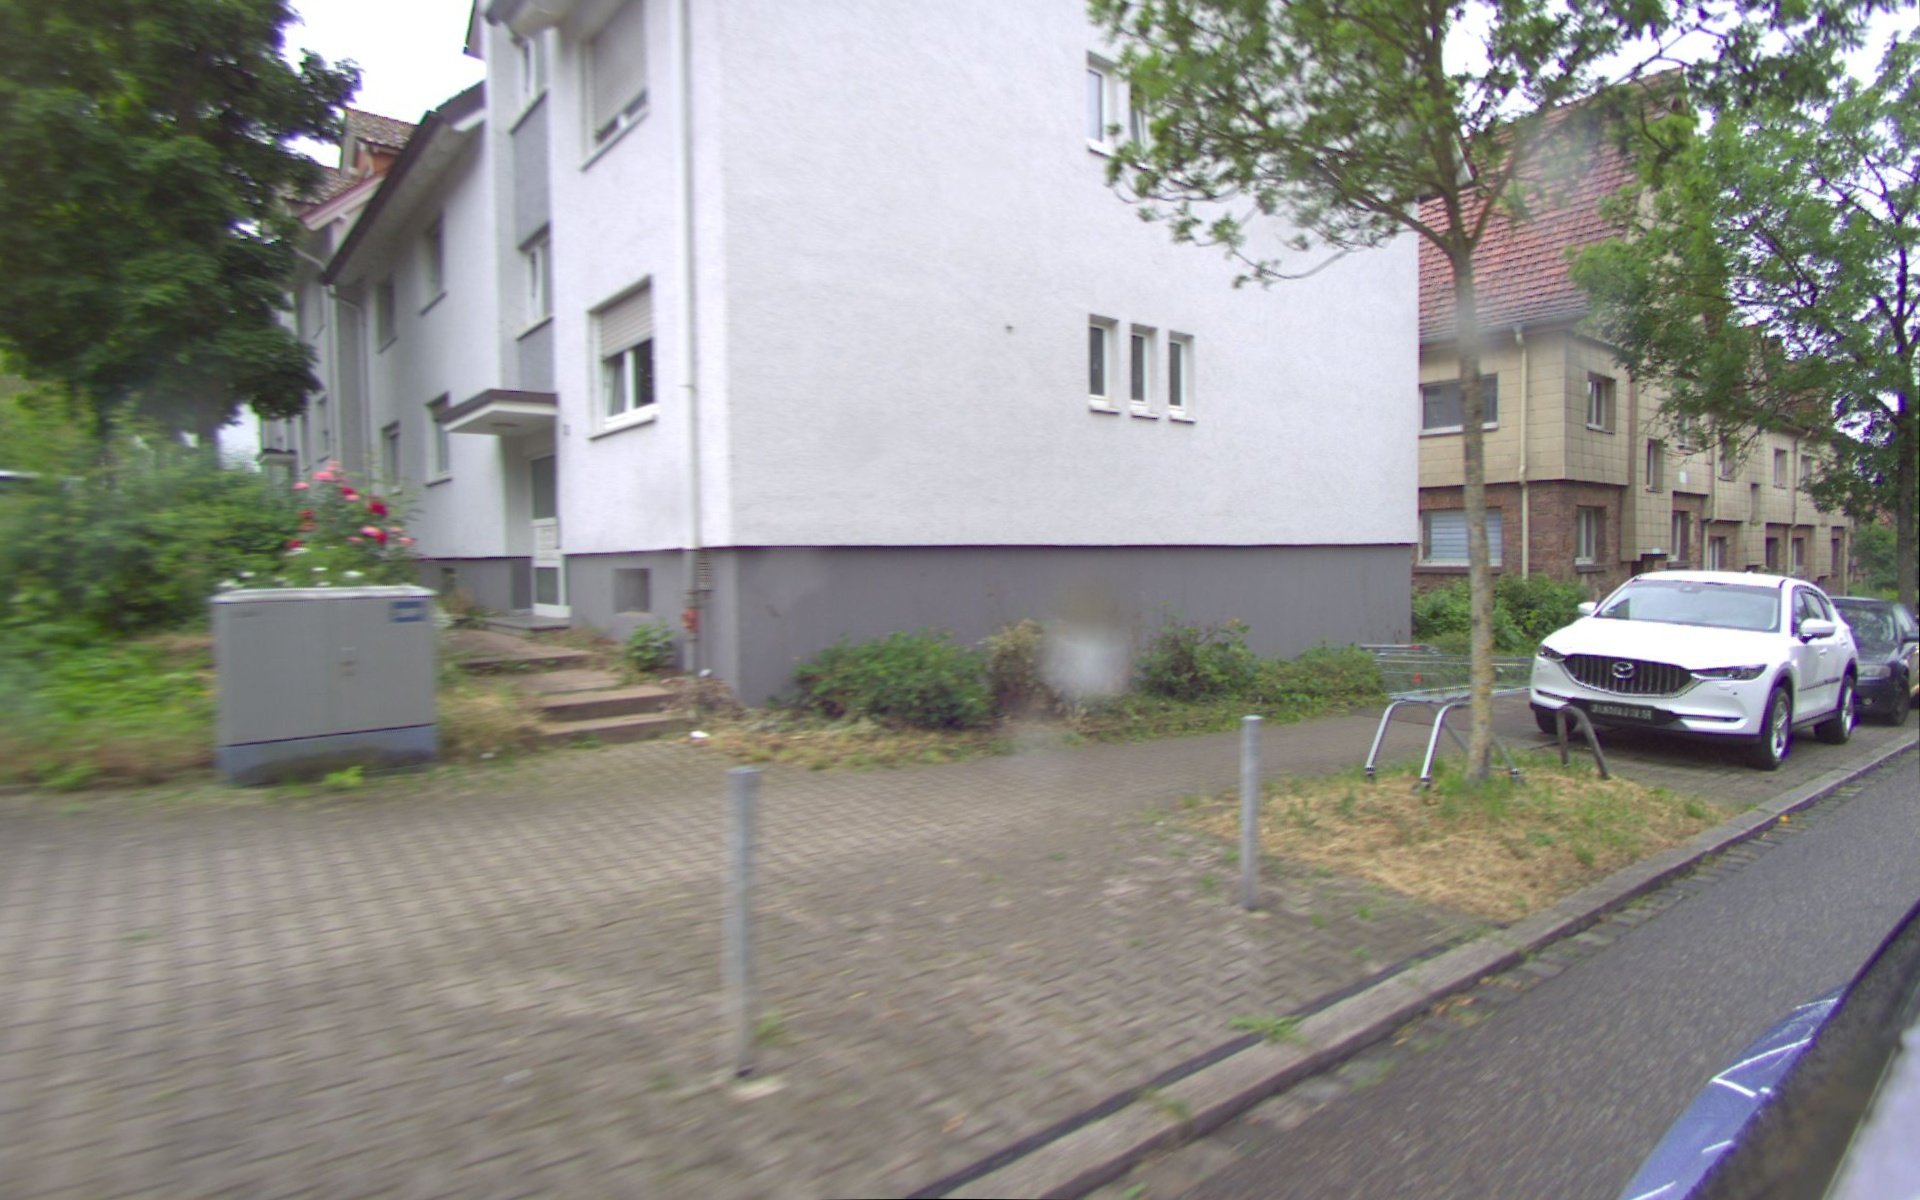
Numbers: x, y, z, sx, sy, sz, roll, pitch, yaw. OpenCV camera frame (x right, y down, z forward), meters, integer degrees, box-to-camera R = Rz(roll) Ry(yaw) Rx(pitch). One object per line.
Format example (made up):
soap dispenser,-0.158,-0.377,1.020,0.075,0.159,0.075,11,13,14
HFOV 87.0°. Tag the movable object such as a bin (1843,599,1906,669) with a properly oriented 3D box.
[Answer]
movable object such as a bin,14.820,0.541,16.396,0.808,1.063,0.620,1,3,-42

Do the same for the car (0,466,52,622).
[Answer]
car,-11.586,-0.584,10.127,3.536,1.601,1.650,-3,8,-38

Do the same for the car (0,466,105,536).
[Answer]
car,-24.516,-2.507,25.565,4.370,1.707,1.713,-5,8,-41

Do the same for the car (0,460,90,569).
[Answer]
car,-16.268,-1.377,15.935,3.835,1.703,1.648,-3,7,-42

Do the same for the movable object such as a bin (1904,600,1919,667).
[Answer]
movable object such as a bin,15.887,0.553,16.478,0.808,1.063,0.620,1,3,-42

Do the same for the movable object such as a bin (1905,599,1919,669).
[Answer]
movable object such as a bin,15.283,0.541,15.818,0.808,1.063,0.620,1,3,-42

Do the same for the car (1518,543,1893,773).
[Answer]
car,7.468,0.421,9.978,4.458,1.794,1.829,0,2,-38

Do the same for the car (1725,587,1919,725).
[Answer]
car,11.300,0.585,12.914,3.928,1.466,1.645,0,2,-41
